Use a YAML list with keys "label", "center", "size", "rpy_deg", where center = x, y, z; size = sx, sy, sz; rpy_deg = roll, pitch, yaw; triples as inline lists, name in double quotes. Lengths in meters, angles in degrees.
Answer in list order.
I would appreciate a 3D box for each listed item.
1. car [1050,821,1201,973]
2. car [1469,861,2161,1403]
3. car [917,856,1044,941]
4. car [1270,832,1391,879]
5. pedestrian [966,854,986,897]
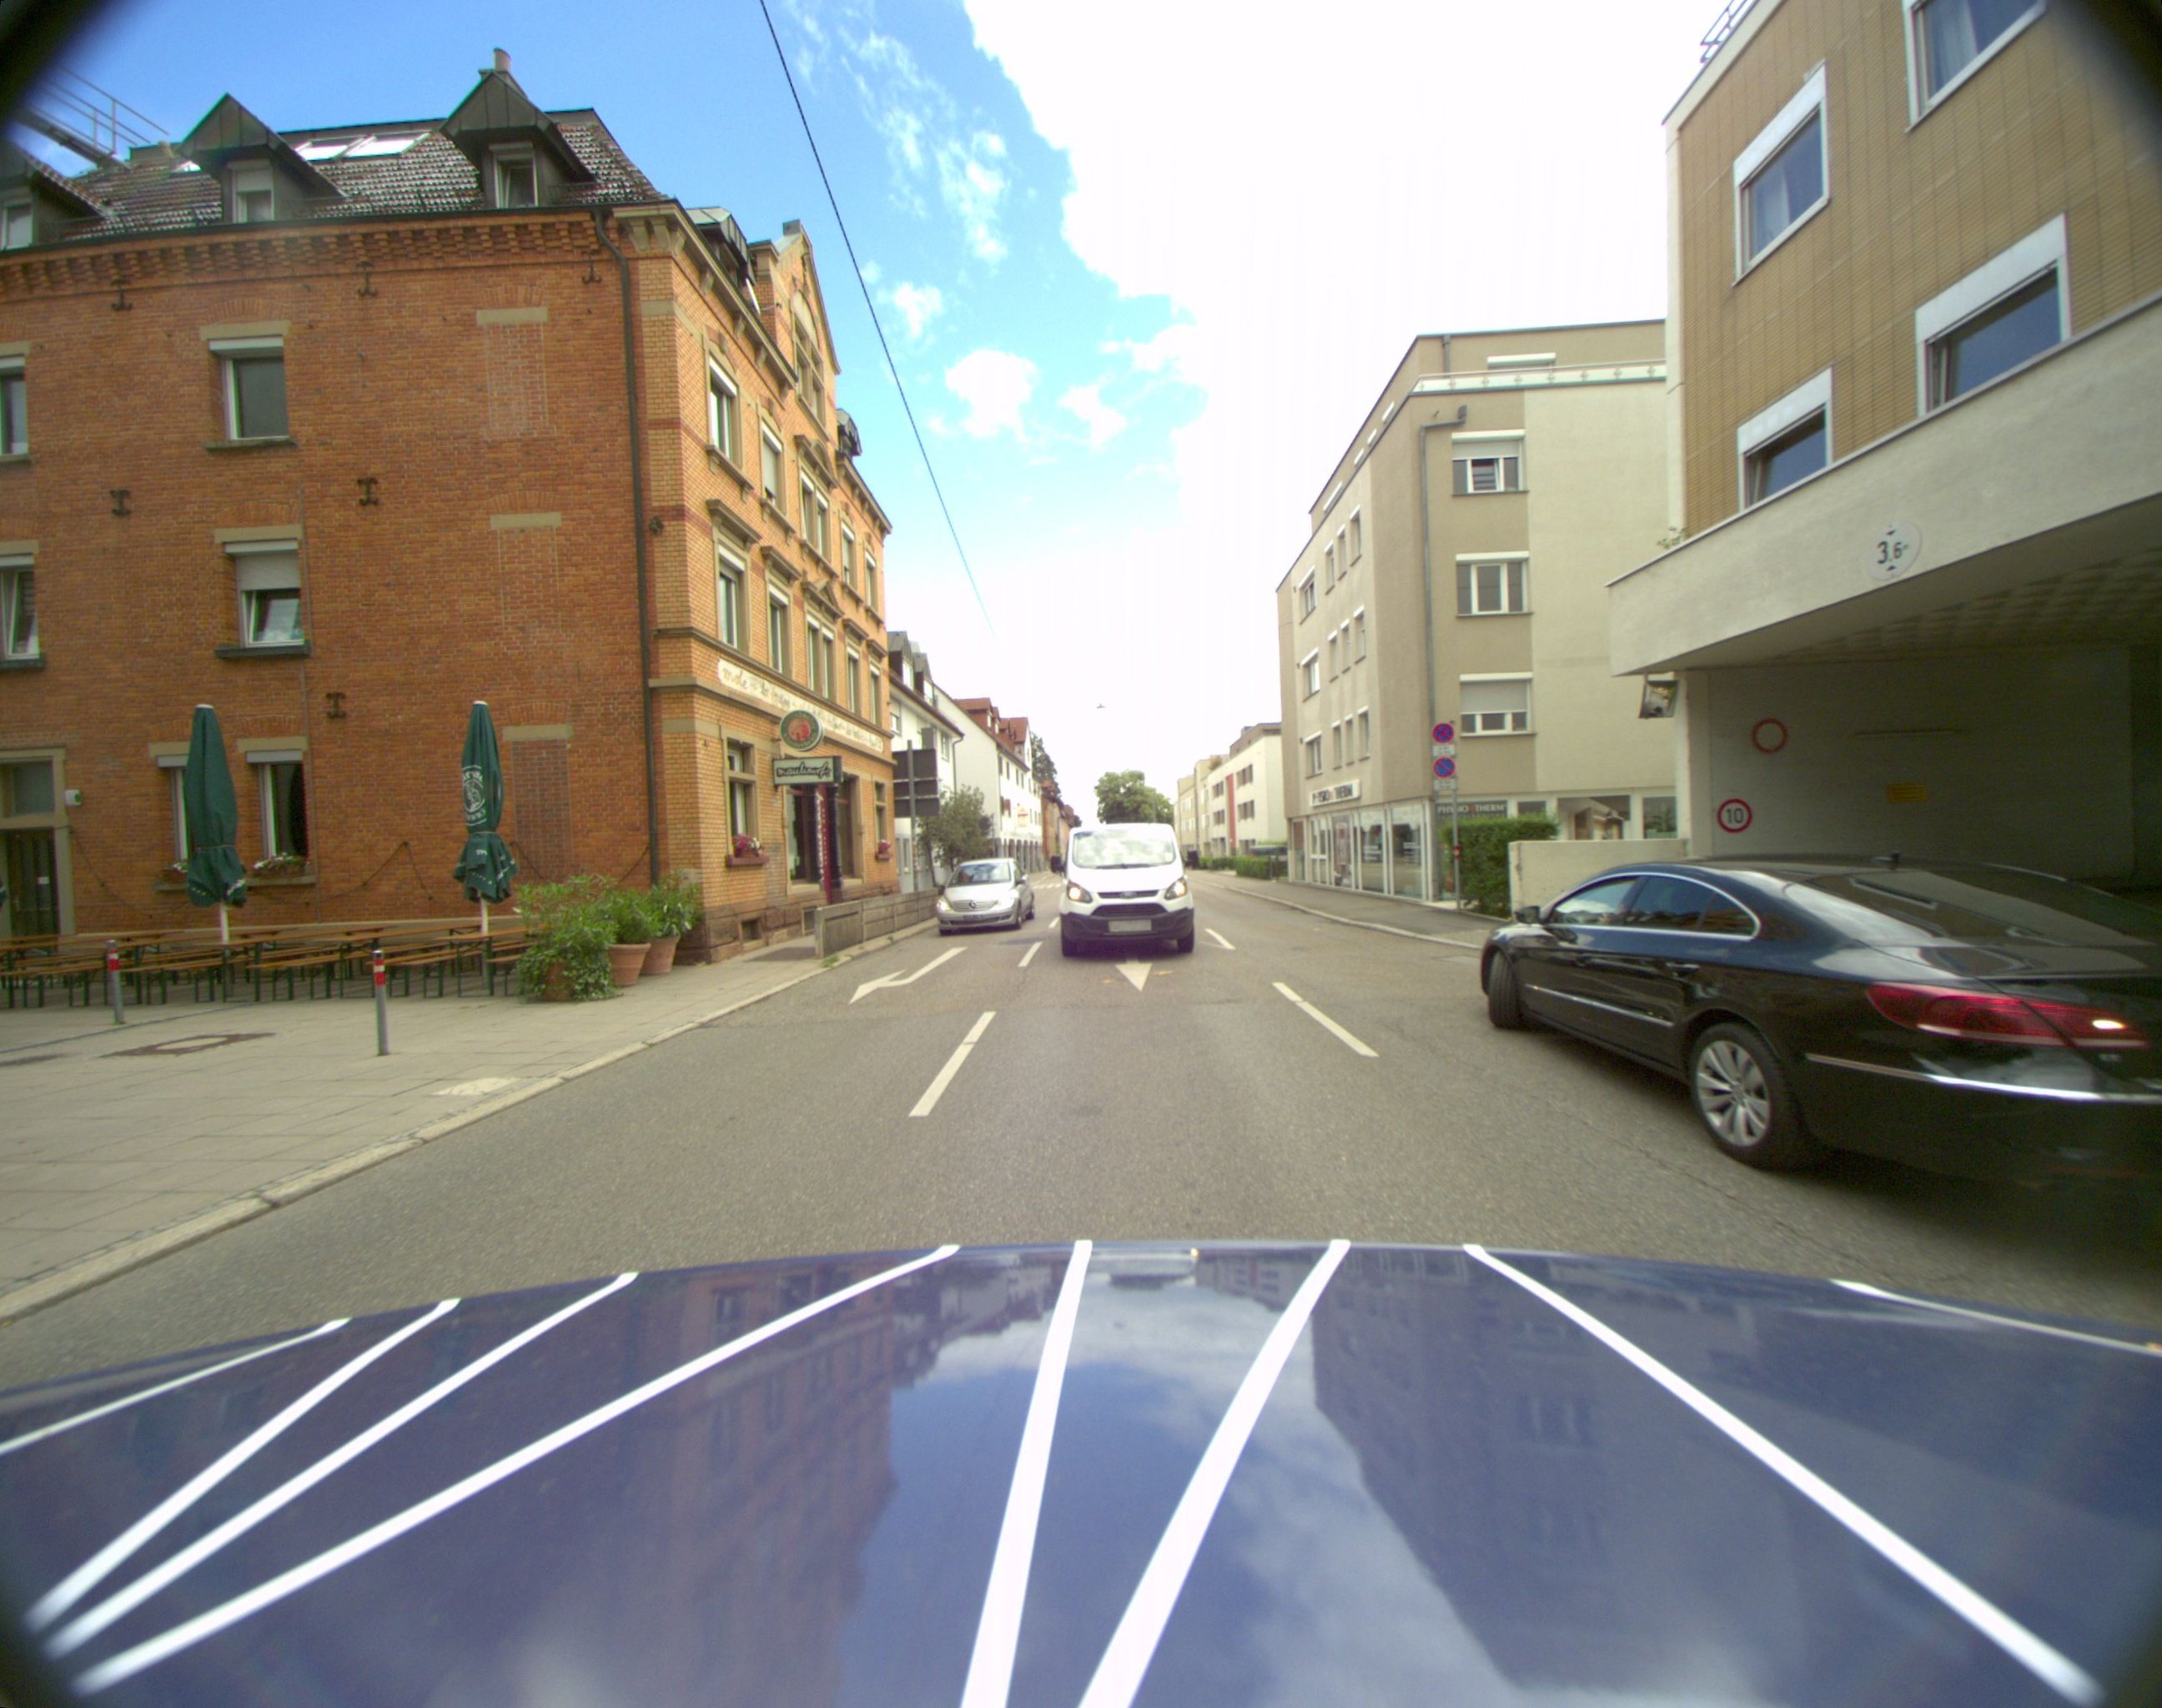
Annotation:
- label: "car"
  center: [0.615, 0.570, 12.863]
  size: [1.965, 1.986, 5.087]
  rpy_deg: [-2, 0, 0]
- label: "car"
  center: [3.908, 0.829, 4.314]
  size: [1.655, 1.390, 4.456]
  rpy_deg: [-2, 1, 8]
- label: "car"
  center: [-2.193, 0.933, 17.959]
  size: [1.998, 1.537, 4.571]
  rpy_deg: [-5, 0, 4]
- label: "car"
  center: [11.729, 0.088, 35.972]
  size: [5.082, 1.986, 1.966]
  rpy_deg: [-2, 1, 4]
- label: "pedestrian"
  center: [-4.292, 0.875, 31.056]
  size: [0.690, 1.721, 0.650]
  rpy_deg: [-2, 1, 0]
